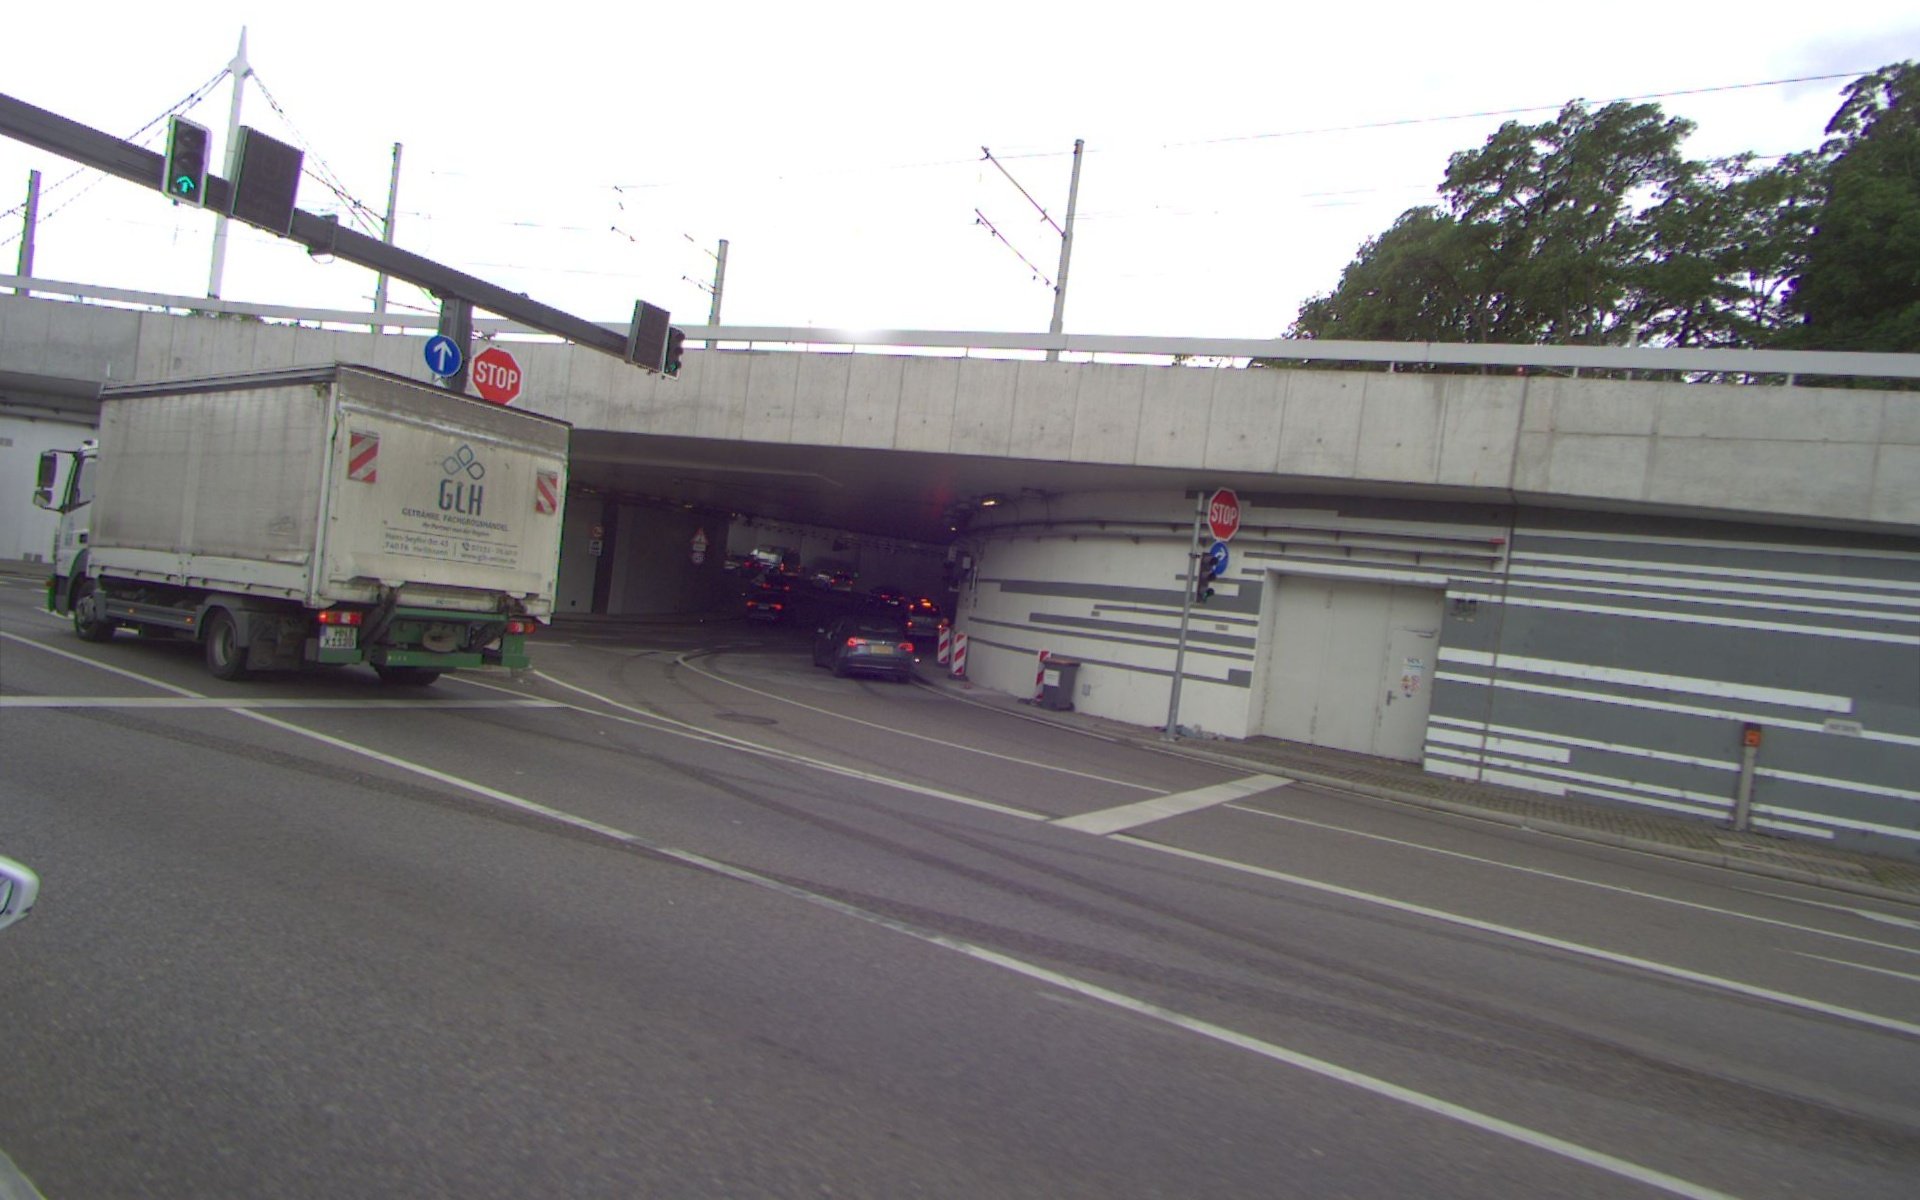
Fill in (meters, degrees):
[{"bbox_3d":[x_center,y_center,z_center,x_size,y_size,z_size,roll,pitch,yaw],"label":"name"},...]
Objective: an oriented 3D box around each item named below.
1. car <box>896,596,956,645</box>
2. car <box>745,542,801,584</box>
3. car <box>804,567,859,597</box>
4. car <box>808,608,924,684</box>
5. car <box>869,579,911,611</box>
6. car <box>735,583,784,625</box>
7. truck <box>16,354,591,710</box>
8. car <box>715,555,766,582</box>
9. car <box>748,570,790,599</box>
[{"bbox_3d":[-1.531,0.877,46.710,1.962,1.860,4.356,7,2,6],"label":"car"},{"bbox_3d":[-15.317,-3.061,82.306,4.377,2.955,1.989,6,0,43],"label":"car"},{"bbox_3d":[-9.665,-1.378,75.540,2.124,1.649,4.351,7,2,-36],"label":"car"},{"bbox_3d":[-2.421,1.060,24.706,1.969,1.418,4.453,7,-1,-15],"label":"car"},{"bbox_3d":[-4.787,-0.349,68.142,1.822,1.679,4.340,6,2,-17],"label":"car"},{"bbox_3d":[-9.444,0.156,47.688,1.801,1.610,3.991,7,2,-7],"label":"car"},{"bbox_3d":[-8.105,-0.860,12.086,7.302,3.223,2.654,7,0,31],"label":"truck"},{"bbox_3d":[-17.290,-2.518,79.286,1.839,1.677,4.307,8,-2,-43],"label":"car"},{"bbox_3d":[-12.289,-1.024,64.466,1.668,1.351,3.642,7,3,-26],"label":"car"}]
